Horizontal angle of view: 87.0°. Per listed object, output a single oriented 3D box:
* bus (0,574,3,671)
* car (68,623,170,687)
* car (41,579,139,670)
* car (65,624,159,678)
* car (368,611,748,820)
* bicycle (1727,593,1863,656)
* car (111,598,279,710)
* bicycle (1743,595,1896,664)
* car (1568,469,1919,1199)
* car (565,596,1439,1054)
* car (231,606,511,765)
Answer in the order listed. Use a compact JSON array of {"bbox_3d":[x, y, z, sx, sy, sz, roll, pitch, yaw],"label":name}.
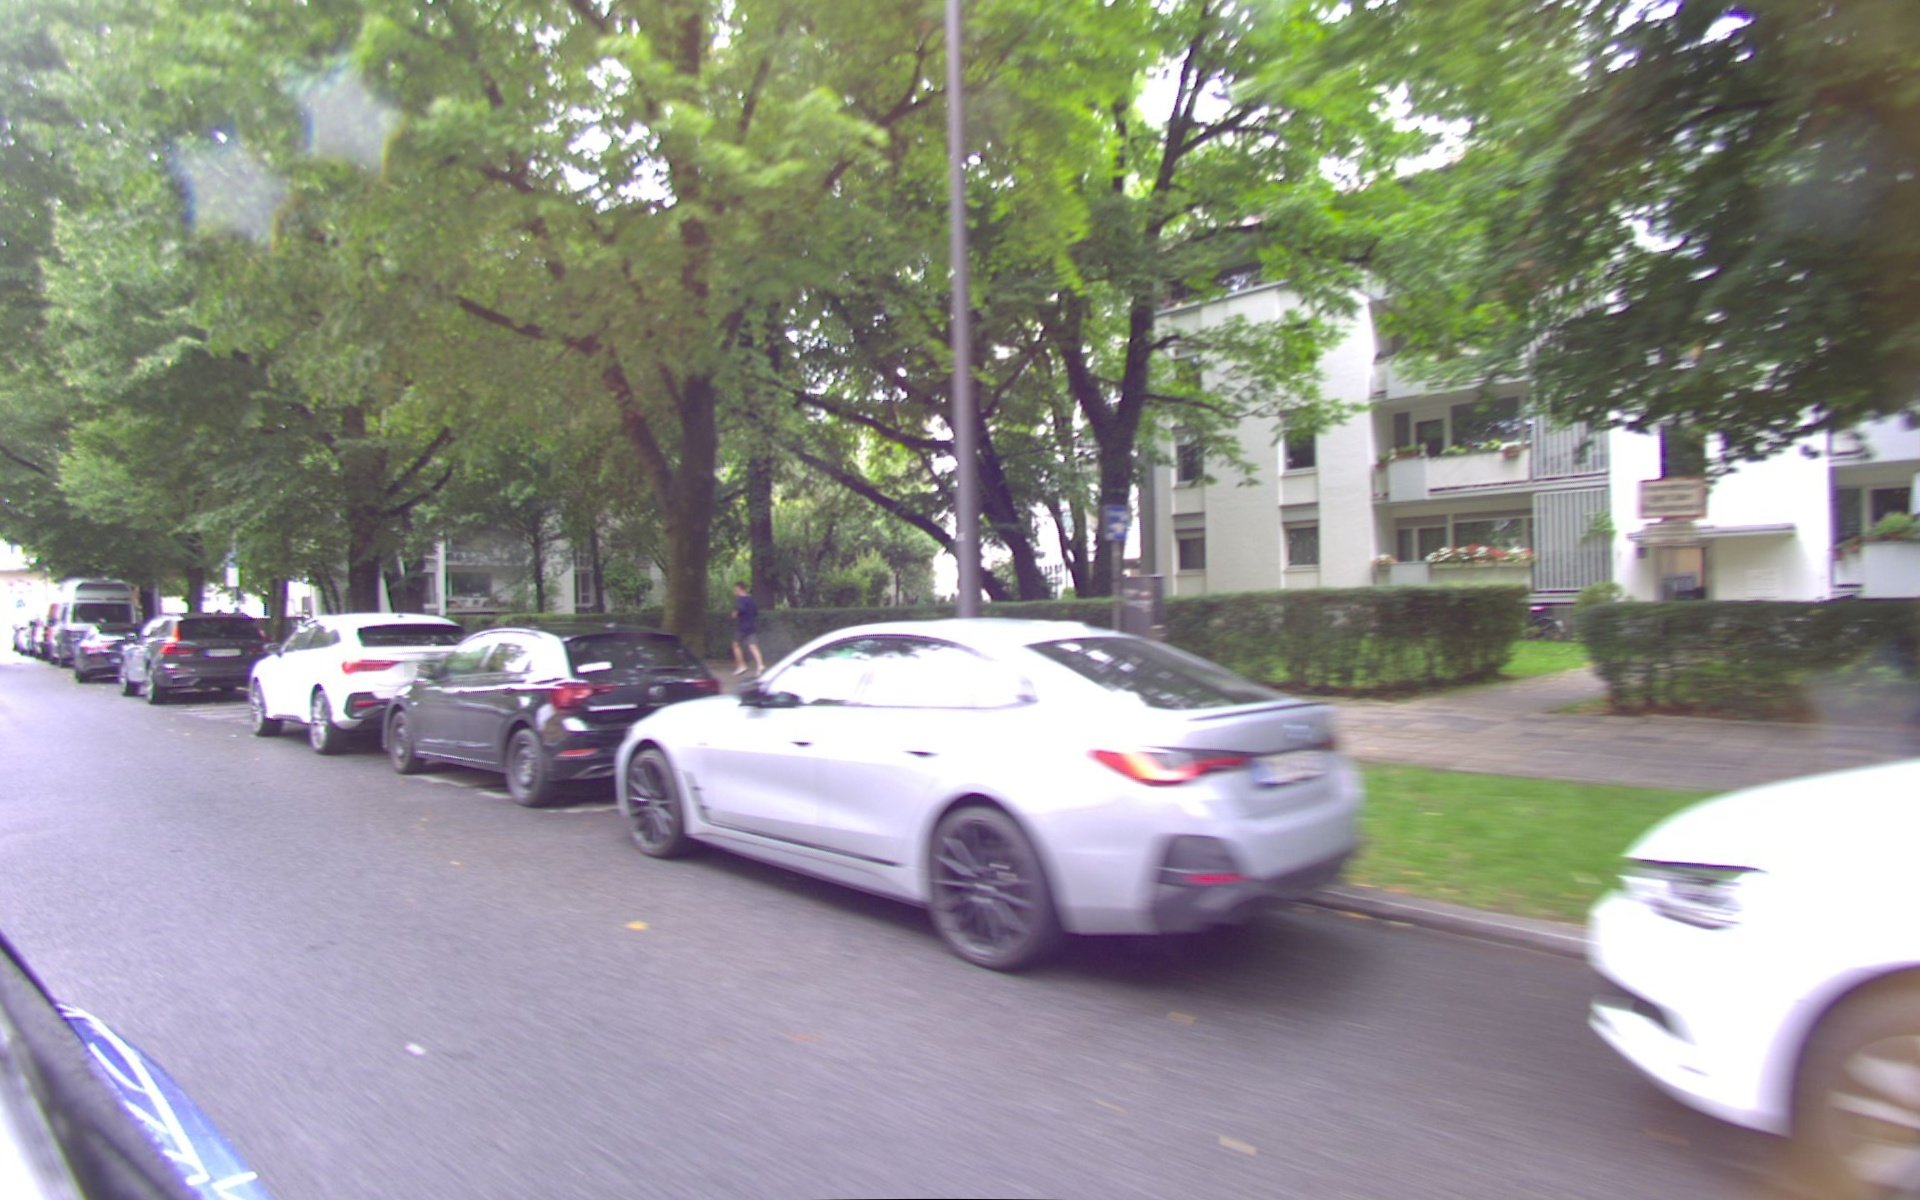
[{"bbox_3d":[-39.851,0.778,39.402,18.429,3.263,2.828,0,0,44],"label":"bus"},{"bbox_3d":[-21.545,1.360,25.858,1.769,1.449,4.556,0,-1,-43],"label":"car"},{"bbox_3d":[-30.005,0.752,34.811,6.237,2.876,1.923,0,0,43],"label":"car"},{"bbox_3d":[-25.517,1.495,30.401,1.769,1.449,4.580,0,-1,-45],"label":"car"},{"bbox_3d":[-3.863,0.864,9.345,4.104,1.480,1.654,-1,0,43],"label":"car"},{"bbox_3d":[15.570,0.453,18.917,1.902,1.116,0.634,-2,0,40],"label":"bicycle"},{"bbox_3d":[-14.727,0.967,19.388,4.548,1.891,1.764,-1,-2,43],"label":"car"},{"bbox_3d":[14.325,0.488,16.930,1.902,1.089,0.634,-2,0,40],"label":"bicycle"},{"bbox_3d":[3.727,0.557,1.535,1.744,1.634,4.526,3,-2,-44],"label":"car"},{"bbox_3d":[-0.240,0.752,5.693,4.999,1.480,1.789,-1,0,44],"label":"car"},{"bbox_3d":[-7.484,0.906,12.650,4.584,1.609,1.765,-1,0,43],"label":"car"}]
